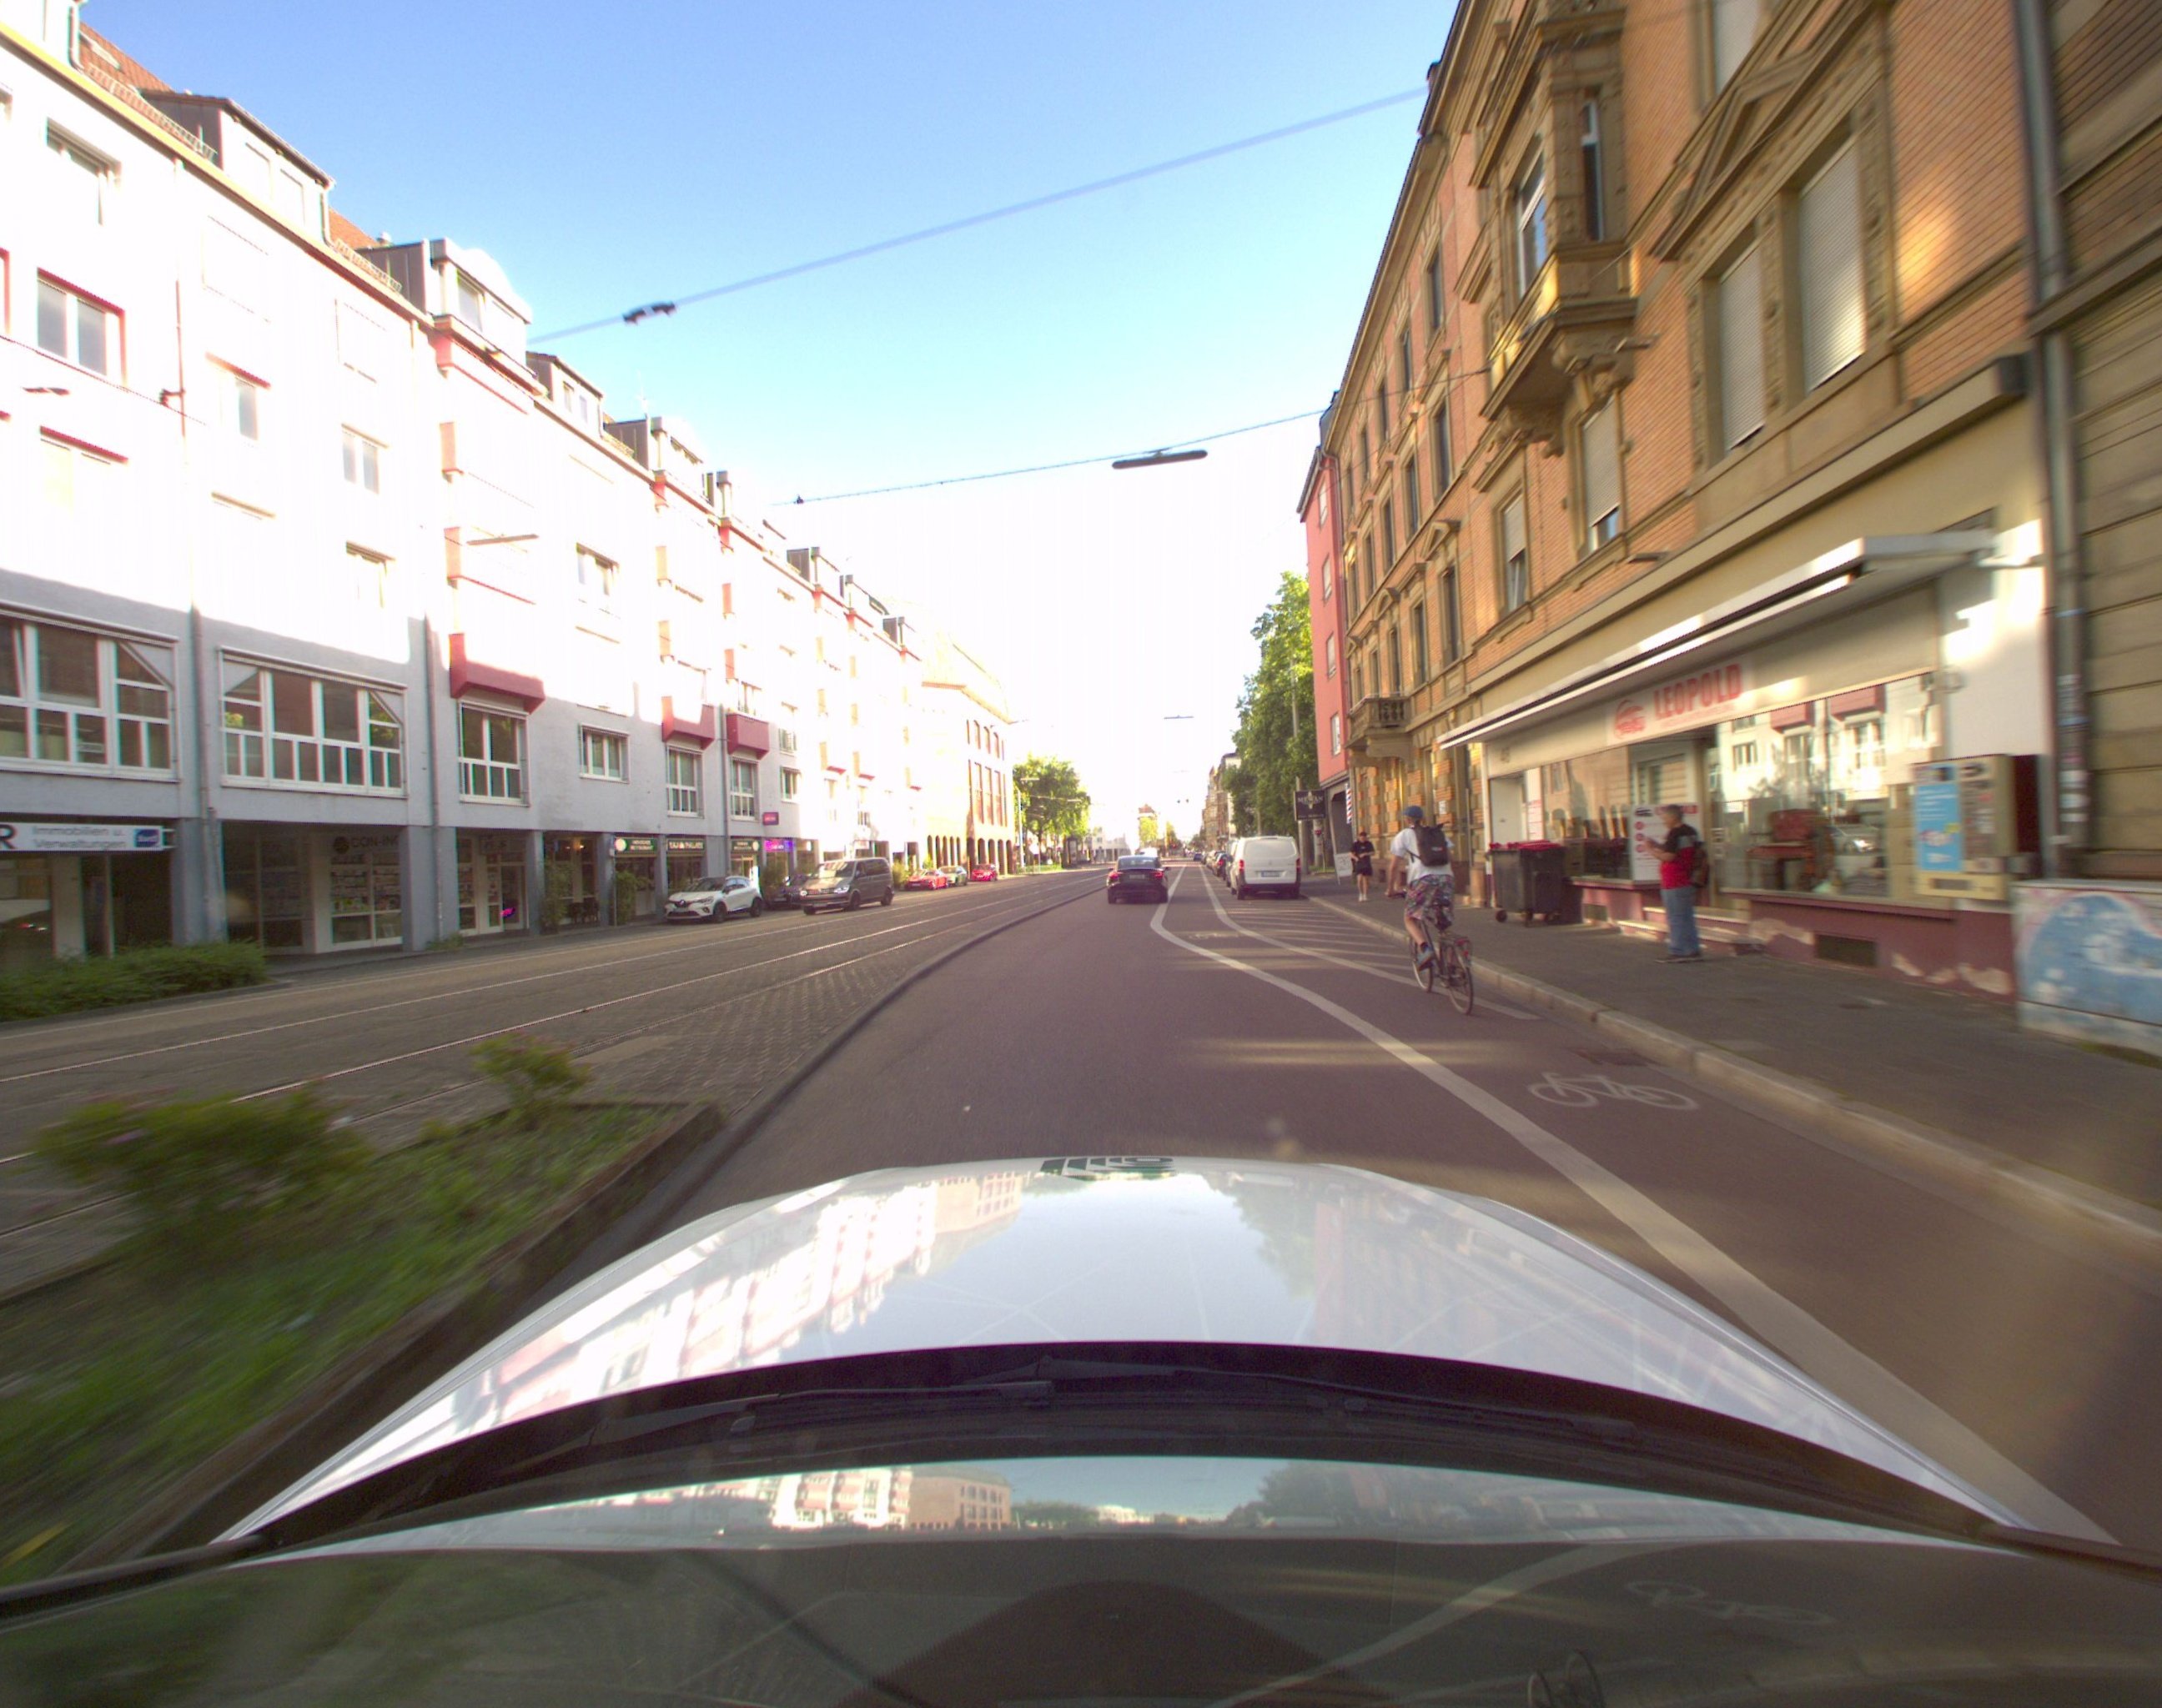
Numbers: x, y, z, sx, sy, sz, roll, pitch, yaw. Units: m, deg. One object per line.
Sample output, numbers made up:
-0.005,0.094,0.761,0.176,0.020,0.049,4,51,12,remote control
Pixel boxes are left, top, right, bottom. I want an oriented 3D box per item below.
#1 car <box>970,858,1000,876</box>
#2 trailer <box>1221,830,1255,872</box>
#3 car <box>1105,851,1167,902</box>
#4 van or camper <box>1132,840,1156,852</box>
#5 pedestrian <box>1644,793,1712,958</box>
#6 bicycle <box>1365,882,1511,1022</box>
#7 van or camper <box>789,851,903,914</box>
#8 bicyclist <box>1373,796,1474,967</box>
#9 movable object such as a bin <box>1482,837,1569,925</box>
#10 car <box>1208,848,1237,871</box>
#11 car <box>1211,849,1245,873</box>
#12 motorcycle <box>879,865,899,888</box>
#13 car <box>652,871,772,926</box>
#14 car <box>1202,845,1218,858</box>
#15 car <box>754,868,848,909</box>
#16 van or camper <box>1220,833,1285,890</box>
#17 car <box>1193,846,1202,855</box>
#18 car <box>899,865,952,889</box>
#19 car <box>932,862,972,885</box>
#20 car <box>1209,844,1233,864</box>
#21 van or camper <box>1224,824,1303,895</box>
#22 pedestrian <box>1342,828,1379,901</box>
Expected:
-7.900,1.050,67.363,1.650,1.422,3.628,-1,0,7,car
8.333,-0.142,43.387,1.651,2.117,3.852,-1,0,9,trailer
1.787,0.660,25.494,1.710,1.405,3.717,-1,1,7,car
14.676,-1.854,190.578,2.119,2.654,6.925,-3,0,36,van or camper
6.530,0.216,8.904,0.465,1.728,0.591,-2,1,43,pedestrian
3.539,0.909,8.284,0.644,1.139,2.097,-2,0,3,bicycle
-8.598,0.974,30.375,1.981,1.940,4.848,-5,0,10,van or camper
3.528,0.269,8.456,0.652,1.655,0.928,-2,0,3,bicyclist
7.277,0.422,13.385,0.771,1.347,1.302,-2,0,6,movable object such as a bin
9.831,0.370,56.206,1.738,1.443,4.330,-2,1,12,car
9.213,0.423,51.252,1.793,1.435,4.331,0,0,6,car
-11.710,1.376,49.763,0.516,1.297,2.086,-1,1,7,motorcycle
-13.020,1.507,29.070,1.908,1.614,4.376,-3,0,5,car
15.326,-0.249,96.938,1.701,1.457,4.560,-2,0,7,car
-12.174,1.467,35.764,1.892,1.458,4.836,-2,0,7,car
6.708,0.263,32.333,1.961,2.045,5.340,-1,0,6,van or camper
21.040,-0.656,147.139,1.584,1.433,3.695,-3,0,8,car
-9.891,1.423,52.179,1.950,1.325,4.830,-1,0,7,car
-9.093,1.333,57.676,1.660,1.468,4.299,-1,0,7,car
11.695,-0.022,68.077,1.705,1.590,4.073,-1,1,6,car
5.777,0.164,26.375,1.921,2.036,5.486,-1,0,7,van or camper
7.142,0.271,20.836,0.669,1.814,0.757,-2,0,6,pedestrian
